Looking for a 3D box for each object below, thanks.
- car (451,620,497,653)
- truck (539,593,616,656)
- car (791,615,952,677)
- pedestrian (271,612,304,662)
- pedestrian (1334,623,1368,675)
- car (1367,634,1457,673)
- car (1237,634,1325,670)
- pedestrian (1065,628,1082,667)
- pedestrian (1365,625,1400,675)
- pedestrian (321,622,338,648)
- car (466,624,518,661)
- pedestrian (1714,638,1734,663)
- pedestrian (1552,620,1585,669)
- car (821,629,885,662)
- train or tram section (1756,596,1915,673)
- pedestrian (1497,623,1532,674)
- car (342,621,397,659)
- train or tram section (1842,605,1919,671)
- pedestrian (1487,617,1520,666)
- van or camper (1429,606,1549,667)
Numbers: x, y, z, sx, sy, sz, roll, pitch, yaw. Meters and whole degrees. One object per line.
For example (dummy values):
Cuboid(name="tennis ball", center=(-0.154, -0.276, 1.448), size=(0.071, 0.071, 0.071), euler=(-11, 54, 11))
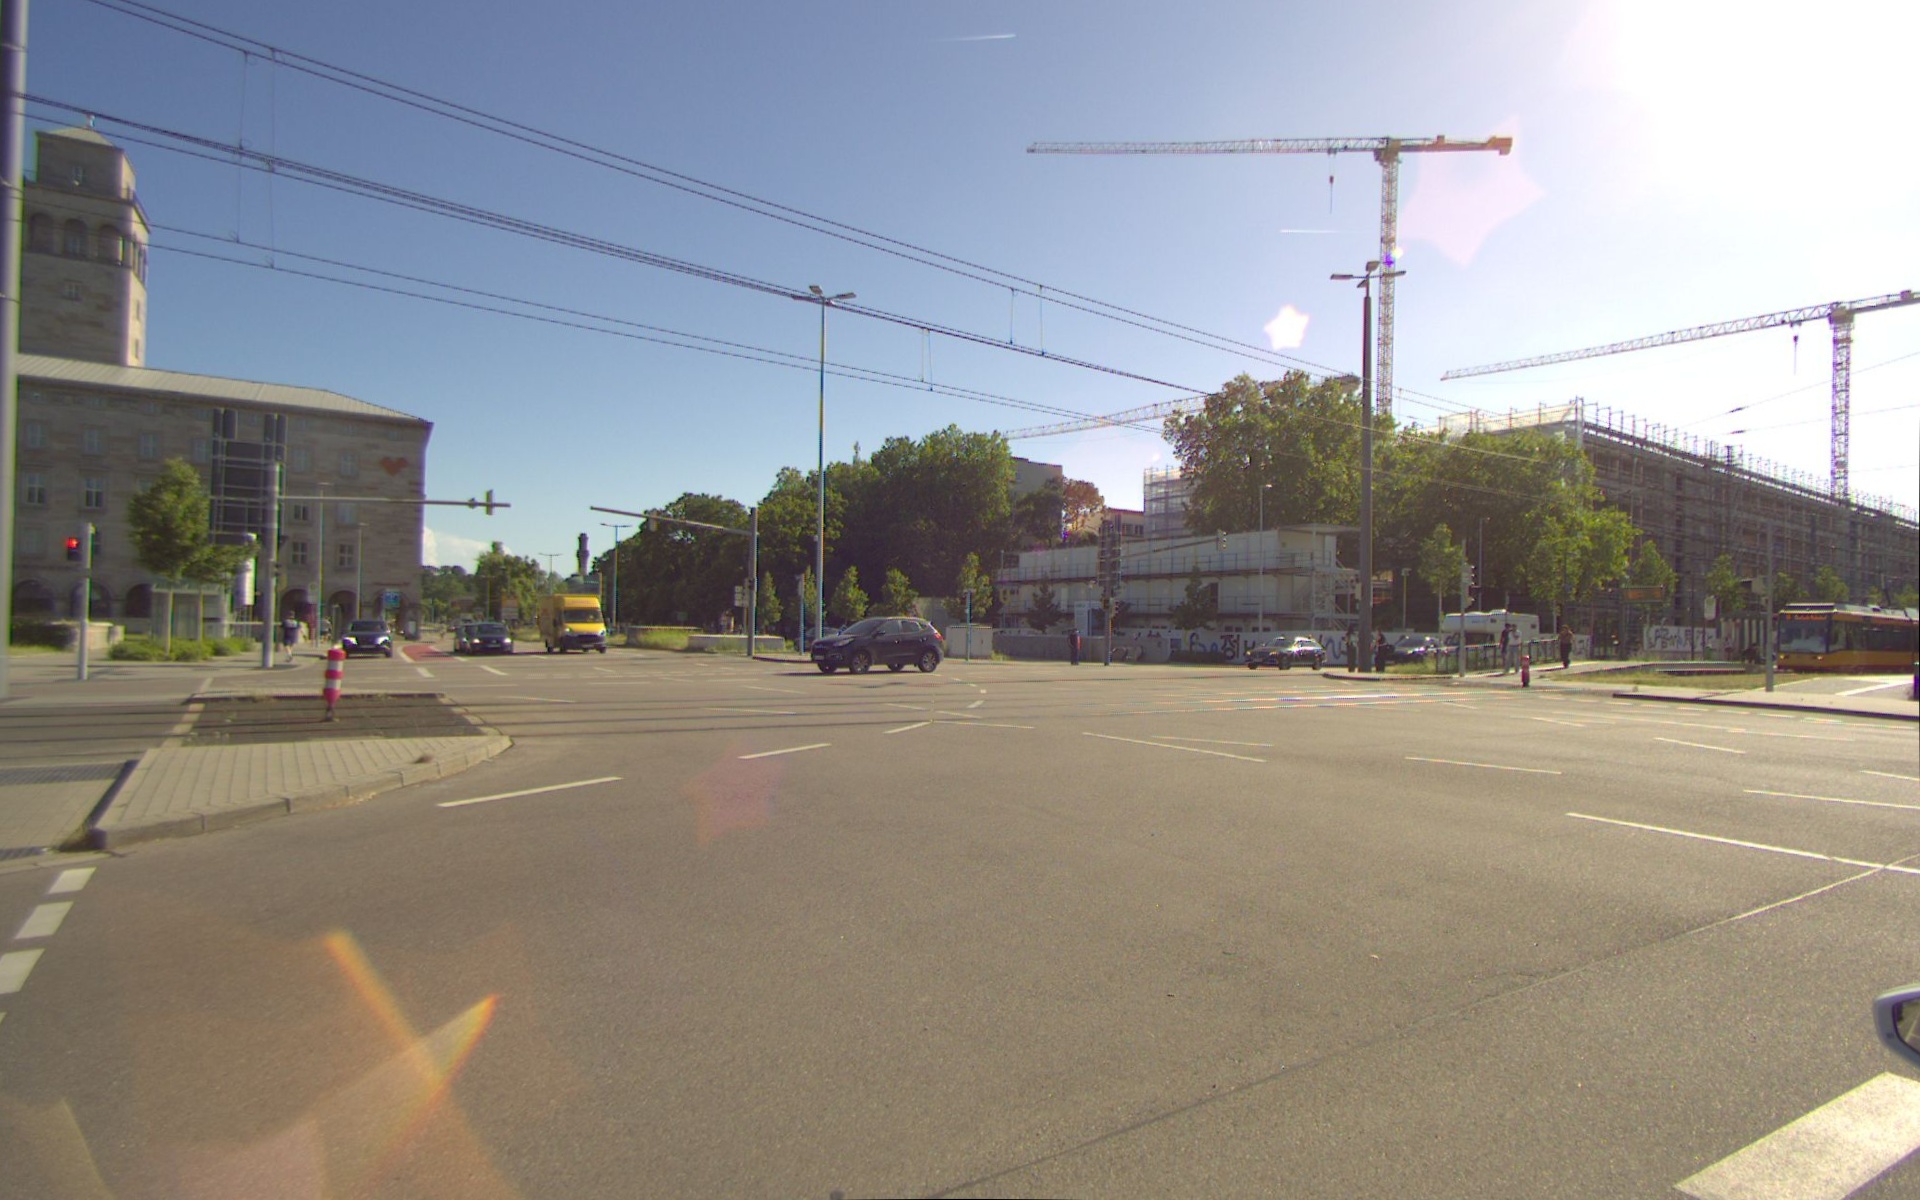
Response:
Cuboid(name="car", center=(-24.252, 1.810, 50.060), size=(1.880, 1.559, 3.970), euler=(2, -2, -29))
Cuboid(name="truck", center=(-18.919, 1.205, 49.346), size=(2.433, 2.829, 7.974), euler=(2, -2, -29))
Cuboid(name="car", center=(-2.617, 1.368, 30.348), size=(4.525, 1.730, 1.976), euler=(2, -2, -41))
Cuboid(name="pedestrian", center=(-23.625, 1.283, 35.318), size=(0.937, 1.708, 1.184), euler=(0, 0, -34))
Cuboid(name="pedestrian", center=(14.191, 1.769, 36.470), size=(0.865, 1.847, 0.802), euler=(1, -1, -2))
Cuboid(name="car", center=(21.054, 2.479, 46.722), size=(4.326, 1.730, 1.932), euler=(2, -2, -36))
Cuboid(name="car", center=(15.051, 2.397, 46.922), size=(1.973, 1.582, 4.800), euler=(0, -2, 45))
Cuboid(name="pedestrian", center=(5.488, 2.307, 48.573), size=(0.686, 1.847, 0.596), euler=(1, -1, 18))
Cuboid(name="pedestrian", center=(15.672, 1.844, 37.264), size=(0.967, 1.847, 0.794), euler=(2, -1, -37))
Cuboid(name="pedestrian", center=(-43.207, 2.401, 68.849), size=(0.937, 1.708, 1.184), euler=(0, 0, -34))
Cuboid(name="car", center=(-21.315, 1.912, 45.667), size=(1.880, 1.559, 3.970), euler=(2, -2, -29))
Cuboid(name="pedestrian", center=(39.418, 2.618, 51.827), size=(0.501, 1.242, 0.666), euler=(3, 0, -37))
Cuboid(name="pedestrian", center=(23.432, 1.697, 38.695), size=(0.967, 1.847, 0.794), euler=(2, -1, -37))
Cuboid(name="car", center=(-5.619, 2.344, 52.321), size=(1.975, 1.622, 3.971), euler=(2, -2, -28))
Cuboid(name="train or tram section", center=(43.094, 1.730, 49.208), size=(12.944, 3.354, 2.851), euler=(2, 0, -35))
Cuboid(name="pedestrian", center=(20.203, 1.756, 36.571), size=(0.967, 1.847, 0.794), euler=(2, -1, -37))
Cuboid(name="car", center=(-25.482, 1.704, 43.453), size=(1.880, 1.559, 3.970), euler=(2, -2, -29))
Cuboid(name="train or tram section", center=(54.781, 2.205, 57.521), size=(15.808, 3.365, 2.829), euler=(2, 0, -35))
Cuboid(name="pedestrian", center=(20.932, 1.594, 38.680), size=(0.967, 1.847, 0.794), euler=(2, -1, -37))
Cuboid(name="van or camper", center=(27.391, 1.899, 51.860), size=(7.272, 2.976, 2.587), euler=(2, -2, -36))
